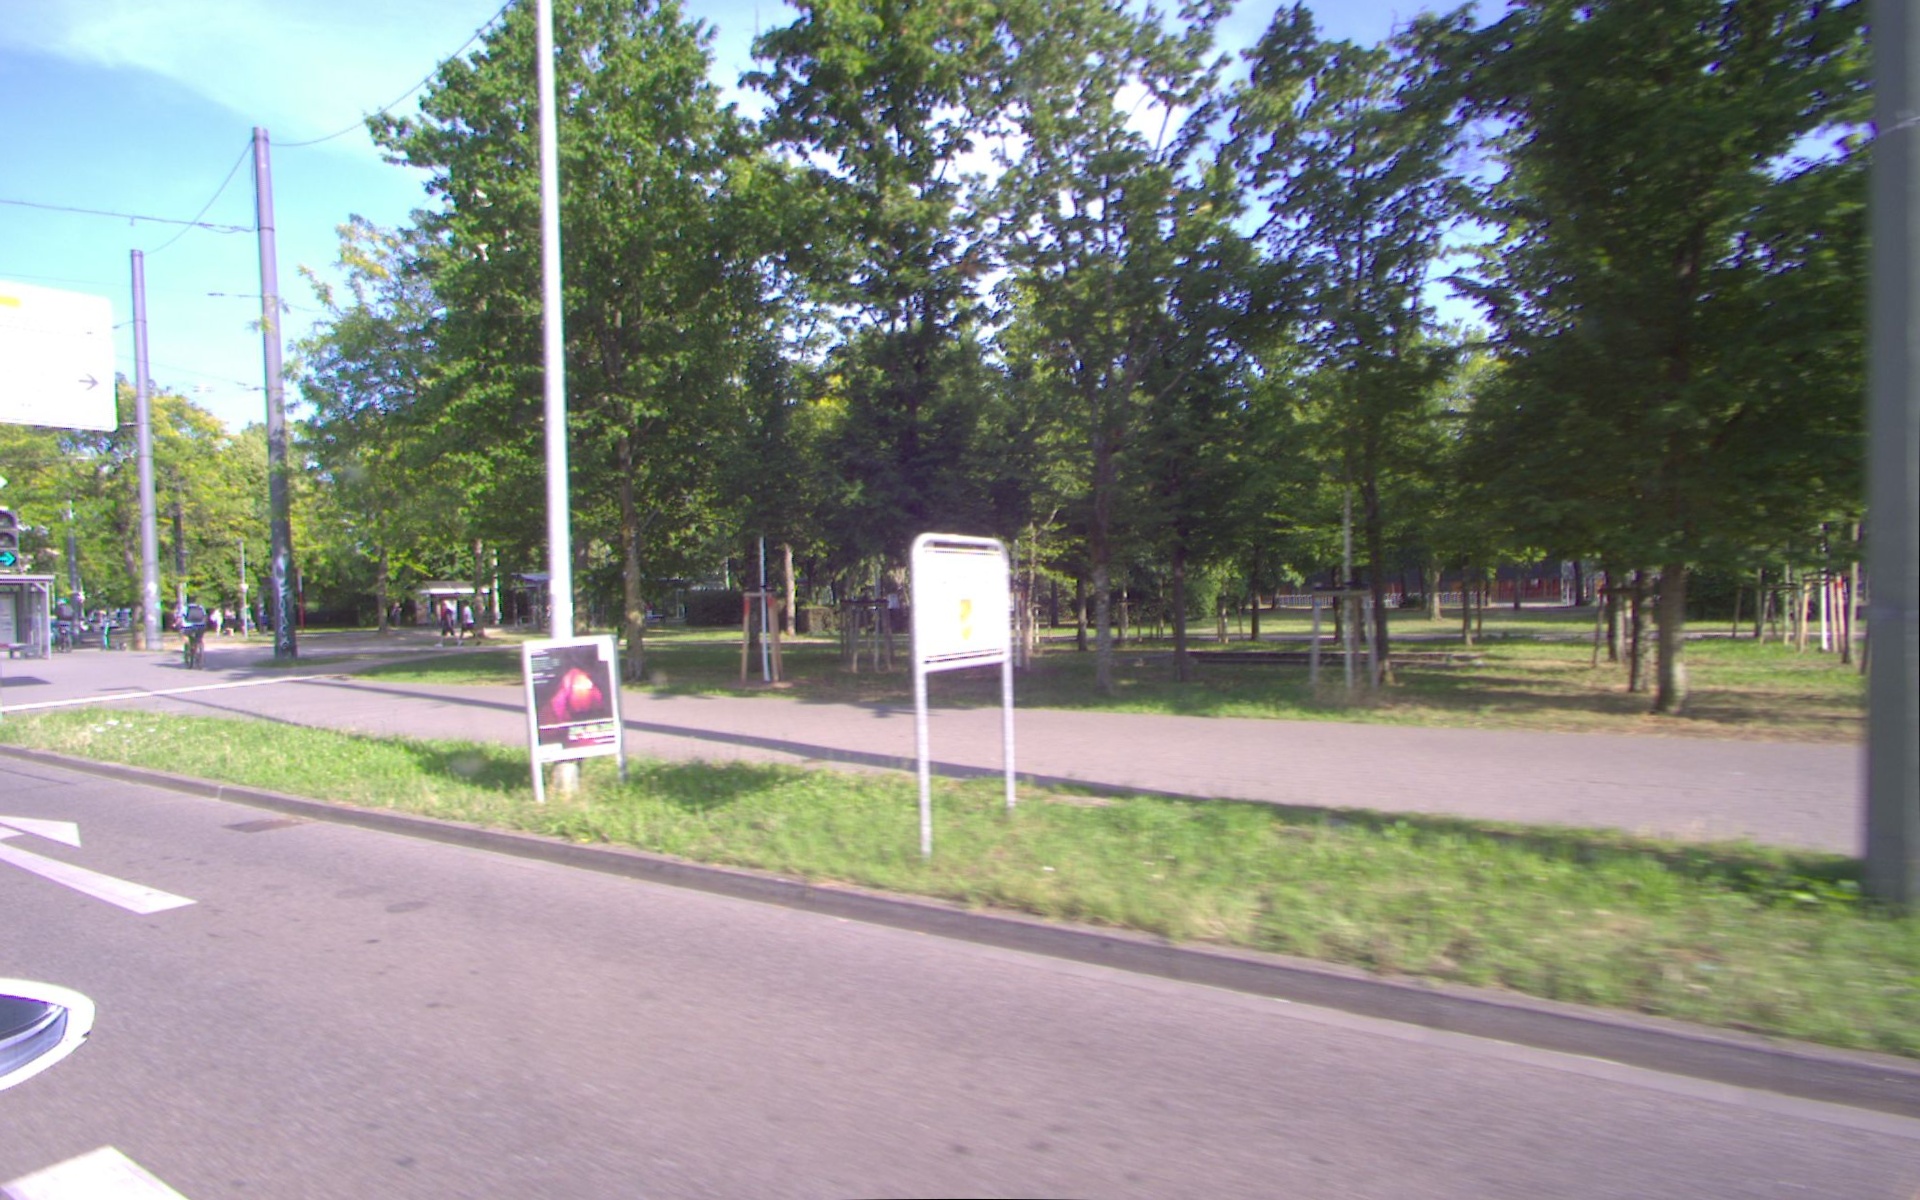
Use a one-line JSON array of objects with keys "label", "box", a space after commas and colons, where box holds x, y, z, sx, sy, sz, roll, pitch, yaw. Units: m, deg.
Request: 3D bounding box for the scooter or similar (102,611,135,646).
[{"label": "scooter or similar", "box": [-30.353, 1.016, 36.119, 1.115, 1.248, 0.351, -1, 1, 18]}]

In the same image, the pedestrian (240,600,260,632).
[{"label": "pedestrian", "box": [-38.695, 0.874, 54.556, 0.681, 1.687, 0.639, -1, 1, 32]}]

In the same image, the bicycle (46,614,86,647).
[{"label": "bicycle", "box": [-30.952, 1.049, 34.676, 1.711, 1.103, 0.638, -1, 3, 36]}]

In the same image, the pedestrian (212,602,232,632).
[{"label": "pedestrian", "box": [-40.659, 0.913, 55.176, 0.681, 1.632, 0.639, -1, 1, 32]}]

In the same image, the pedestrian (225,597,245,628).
[{"label": "pedestrian", "box": [-39.810, 0.702, 54.960, 0.681, 1.687, 0.639, -1, 1, 32]}]

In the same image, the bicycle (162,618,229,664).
[{"label": "bicycle", "box": [-19.240, 1.024, 25.185, 1.912, 1.103, 0.639, -1, 3, 32]}]

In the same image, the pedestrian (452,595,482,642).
[{"label": "pedestrian", "box": [-20.094, 0.767, 40.820, 0.863, 1.922, 0.673, 0, -1, 7]}]

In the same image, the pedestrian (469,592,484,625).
[{"label": "pedestrian", "box": [-27.460, 0.490, 56.853, 0.594, 1.891, 0.462, -1, -1, 1]}]

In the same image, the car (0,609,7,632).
[{"label": "car", "box": [-66.865, 1.458, 68.129, 1.831, 1.536, 3.982, -3, 1, -27]}]

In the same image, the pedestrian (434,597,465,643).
[{"label": "pedestrian", "box": [-20.328, 0.789, 39.871, 0.863, 1.800, 0.673, 0, -1, 13]}]

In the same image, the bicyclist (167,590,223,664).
[{"label": "bicyclist", "box": [-19.194, 0.673, 25.124, 1.124, 1.770, 0.647, -1, 4, 31]}]

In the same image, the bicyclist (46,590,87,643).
[{"label": "bicyclist", "box": [-30.885, 0.569, 34.611, 1.125, 1.770, 0.717, -1, 4, 36]}]
